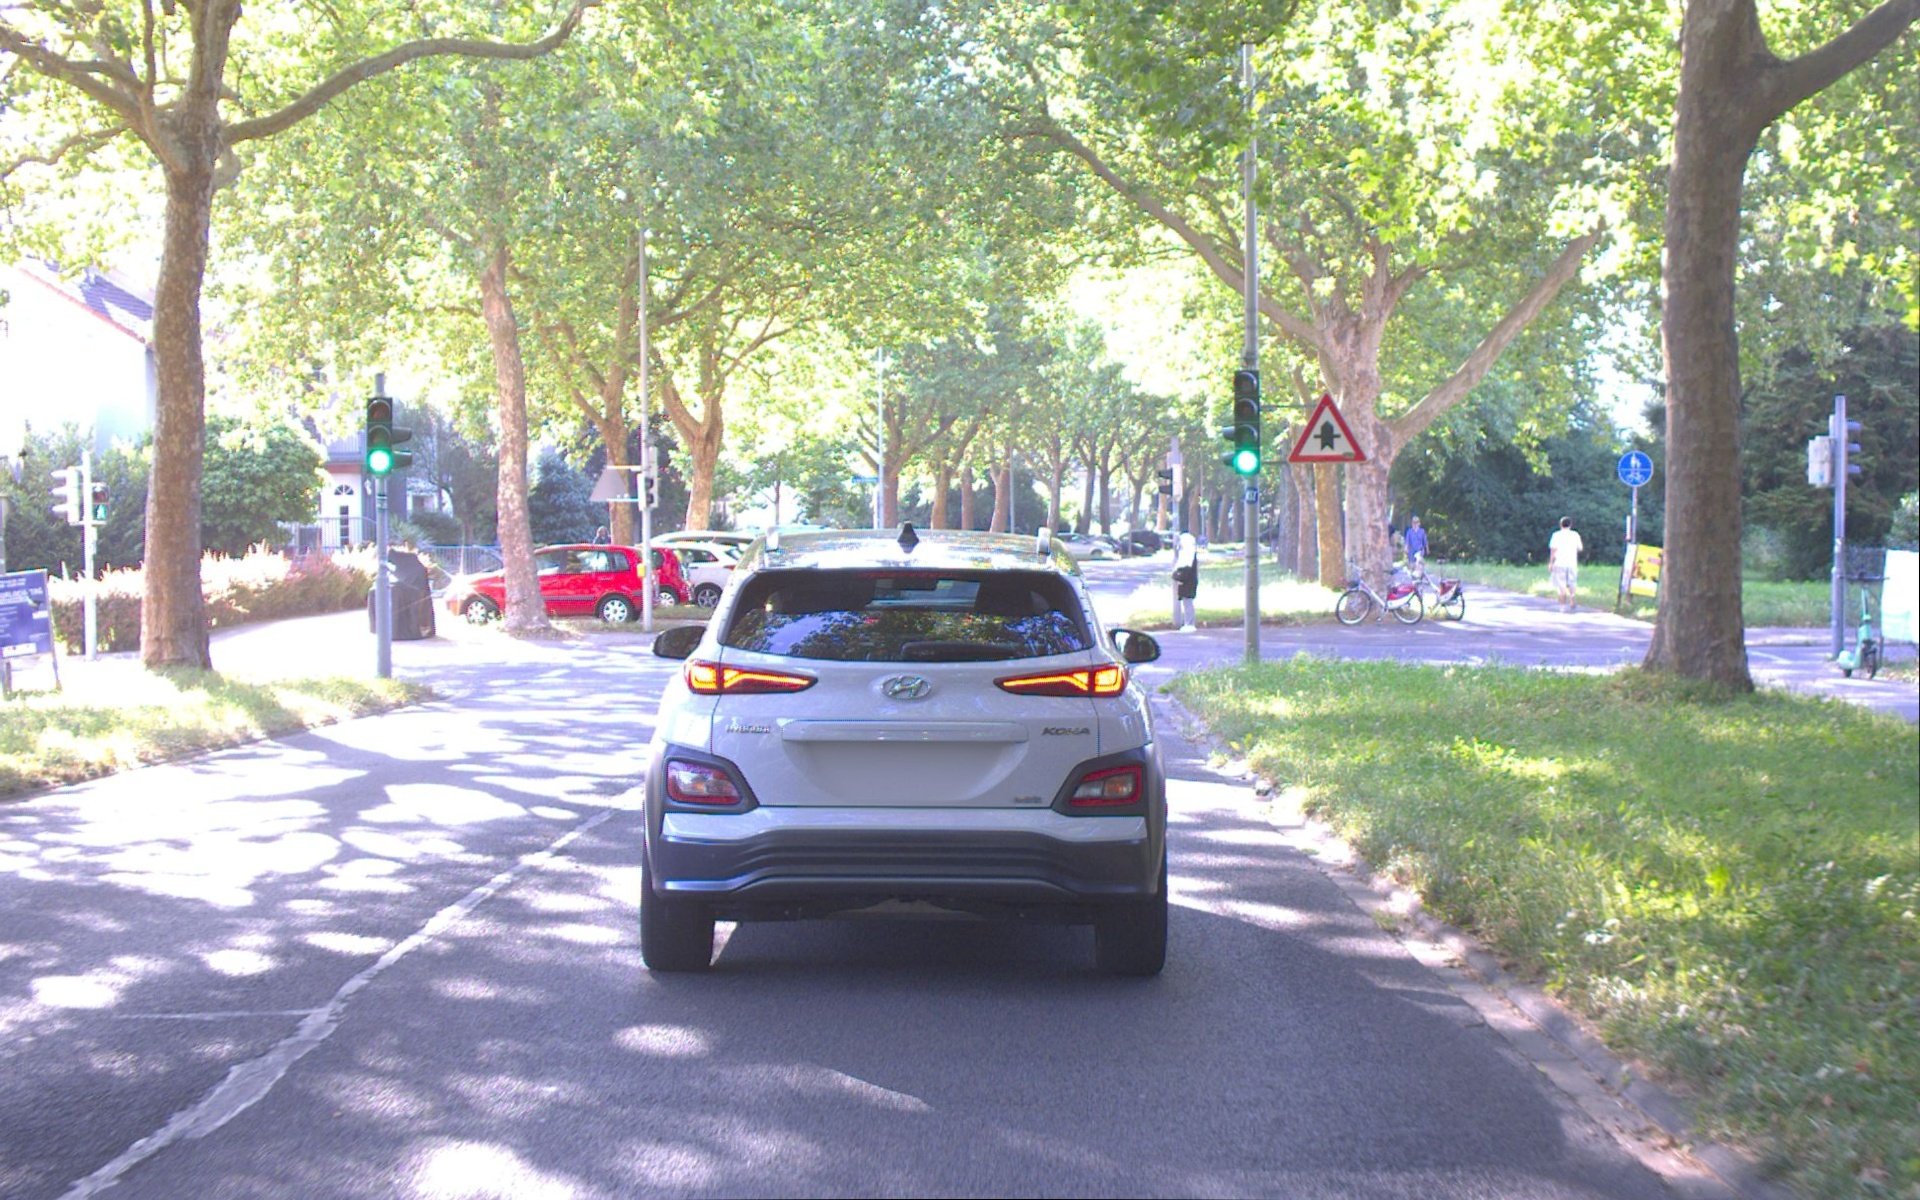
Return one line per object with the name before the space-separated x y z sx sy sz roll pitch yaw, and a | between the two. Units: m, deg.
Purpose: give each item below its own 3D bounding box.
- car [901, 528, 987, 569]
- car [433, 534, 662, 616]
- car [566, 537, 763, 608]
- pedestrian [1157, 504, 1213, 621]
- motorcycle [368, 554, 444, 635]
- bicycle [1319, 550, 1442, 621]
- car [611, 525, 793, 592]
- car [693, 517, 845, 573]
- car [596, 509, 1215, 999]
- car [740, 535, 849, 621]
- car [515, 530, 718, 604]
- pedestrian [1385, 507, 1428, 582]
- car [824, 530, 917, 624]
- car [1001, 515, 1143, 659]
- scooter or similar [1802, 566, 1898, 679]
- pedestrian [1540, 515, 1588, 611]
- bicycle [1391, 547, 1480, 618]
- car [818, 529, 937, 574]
car | -0.714 -2.333 155.532 3.668 1.802 1.749 0 1 -8
car | -7.675 -0.466 64.238 3.987 1.473 2.000 1 0 1
car | -6.333 -0.588 74.002 3.987 1.473 2.000 1 0 2
pedestrian | 3.870 -0.646 59.181 0.868 2.007 0.813 1 0 9
motorcycle | -9.597 -0.104 59.646 0.846 1.374 2.776 1 0 0
bicycle | 7.025 -0.251 57.500 0.603 1.160 2.149 0 1 -43
car | -5.893 -0.941 78.844 3.987 1.473 2.000 1 0 1
car | -5.193 -1.497 93.826 3.987 1.473 2.000 1 0 1
car | -0.176 0.478 13.151 1.993 1.569 4.000 1 1 0
car | -2.915 -0.420 61.073 1.688 1.432 3.682 1 2 1
car | -7.142 -0.684 71.824 3.987 1.473 2.000 1 0 1
pedestrian | 12.133 -1.506 93.492 1.095 2.007 1.105 -1 1 7
car | -1.826 -0.472 71.282 1.791 1.875 4.000 1 0 0
car | 1.651 -0.218 50.236 1.994 2.007 4.000 0 1 2
scooter or similar | 10.157 0.239 39.302 0.549 1.254 2.313 1 0 2
pedestrian | 10.956 -0.670 62.373 0.834 1.730 0.885 1 0 9
bicycle | 8.074 -0.302 58.436 0.603 1.179 2.119 1 0 -19
car | -2.803 -1.662 117.597 3.987 1.473 2.000 1 0 1
